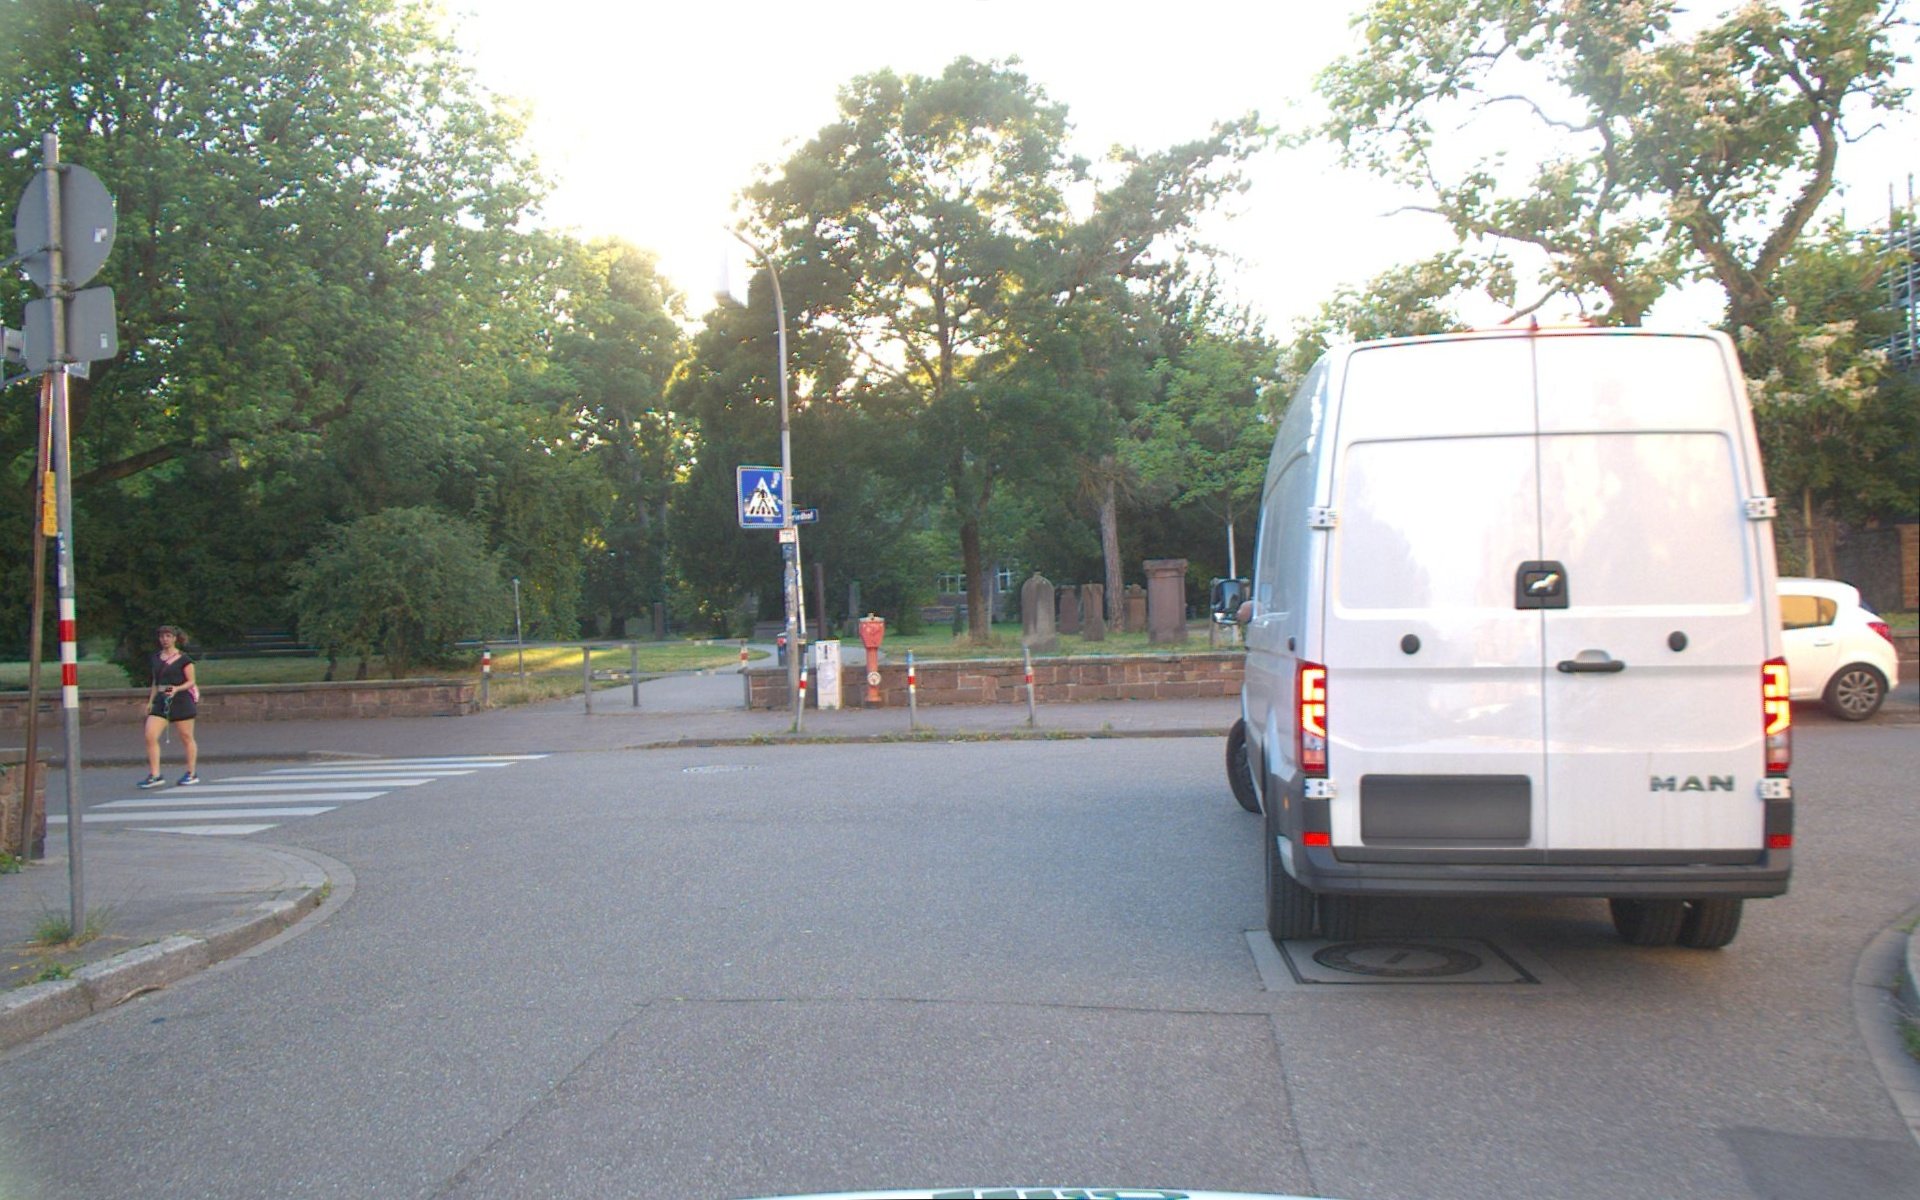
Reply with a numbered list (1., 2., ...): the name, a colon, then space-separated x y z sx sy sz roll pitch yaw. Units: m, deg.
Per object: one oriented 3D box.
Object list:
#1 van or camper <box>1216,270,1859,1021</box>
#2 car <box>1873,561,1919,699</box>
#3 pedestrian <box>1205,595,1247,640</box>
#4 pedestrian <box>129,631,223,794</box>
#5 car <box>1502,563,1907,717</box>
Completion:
1. van or camper: 2.561 0.185 9.155 1.951 2.664 6.407 0 -1 6
2. car: 12.730 0.221 18.265 4.201 1.529 1.825 -3 -1 9
3. pedestrian: 9.157 0.599 56.919 1.300 1.469 1.047 -2 0 4
4. pedestrian: -8.302 1.178 17.541 0.632 1.677 0.674 0 0 8
5. car: 8.442 0.437 19.036 3.774 1.601 1.959 -1 0 3
